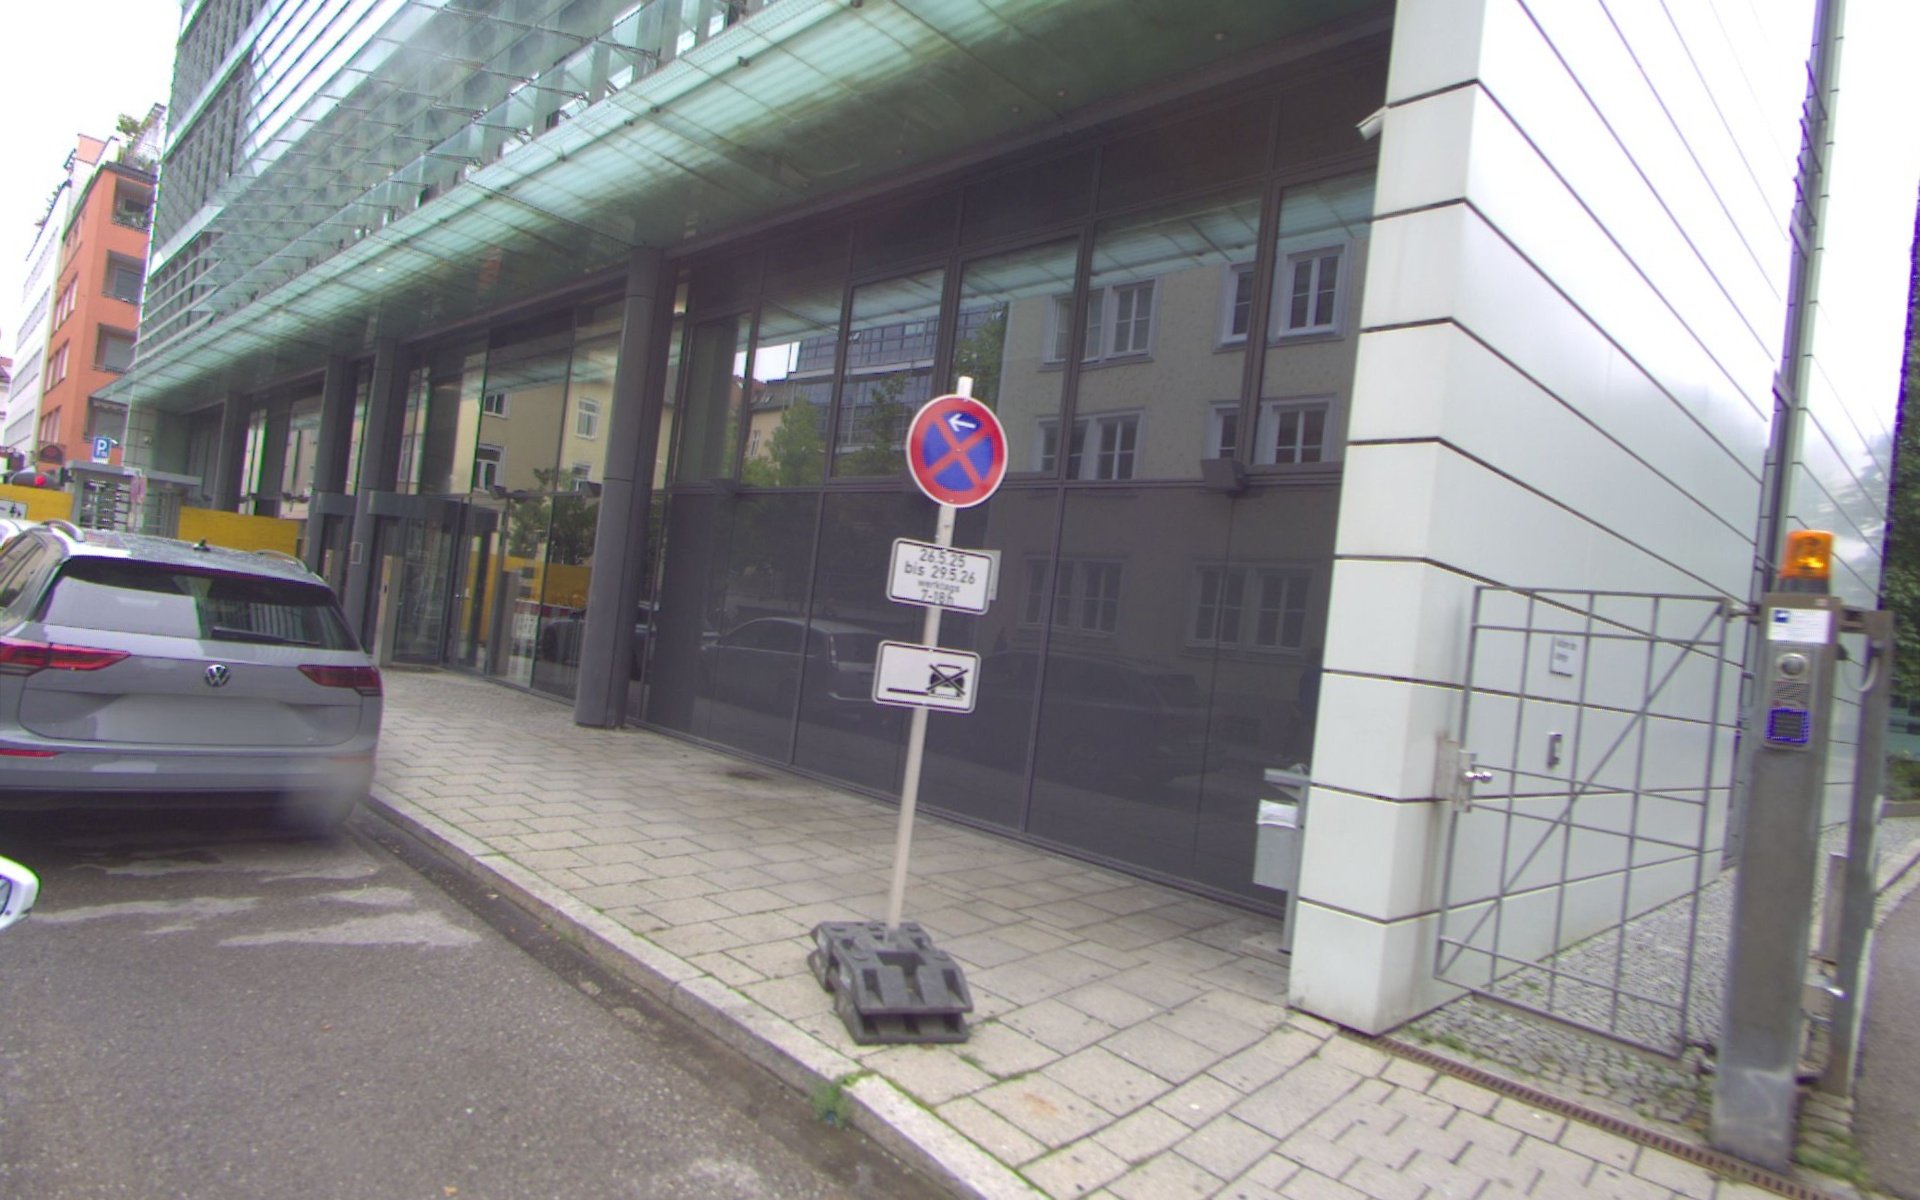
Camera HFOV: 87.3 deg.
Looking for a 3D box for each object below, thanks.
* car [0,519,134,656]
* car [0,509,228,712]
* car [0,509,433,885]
[{"bbox_3d":[-12.221,-0.281,12.989,4.450,1.429,1.706,5,-4,43],"label":"car"},{"bbox_3d":[-8.595,-0.015,9.420,4.177,1.483,1.708,5,-4,40],"label":"car"},{"bbox_3d":[-4.828,0.317,5.815,4.271,1.449,1.706,5,-2,43],"label":"car"}]
